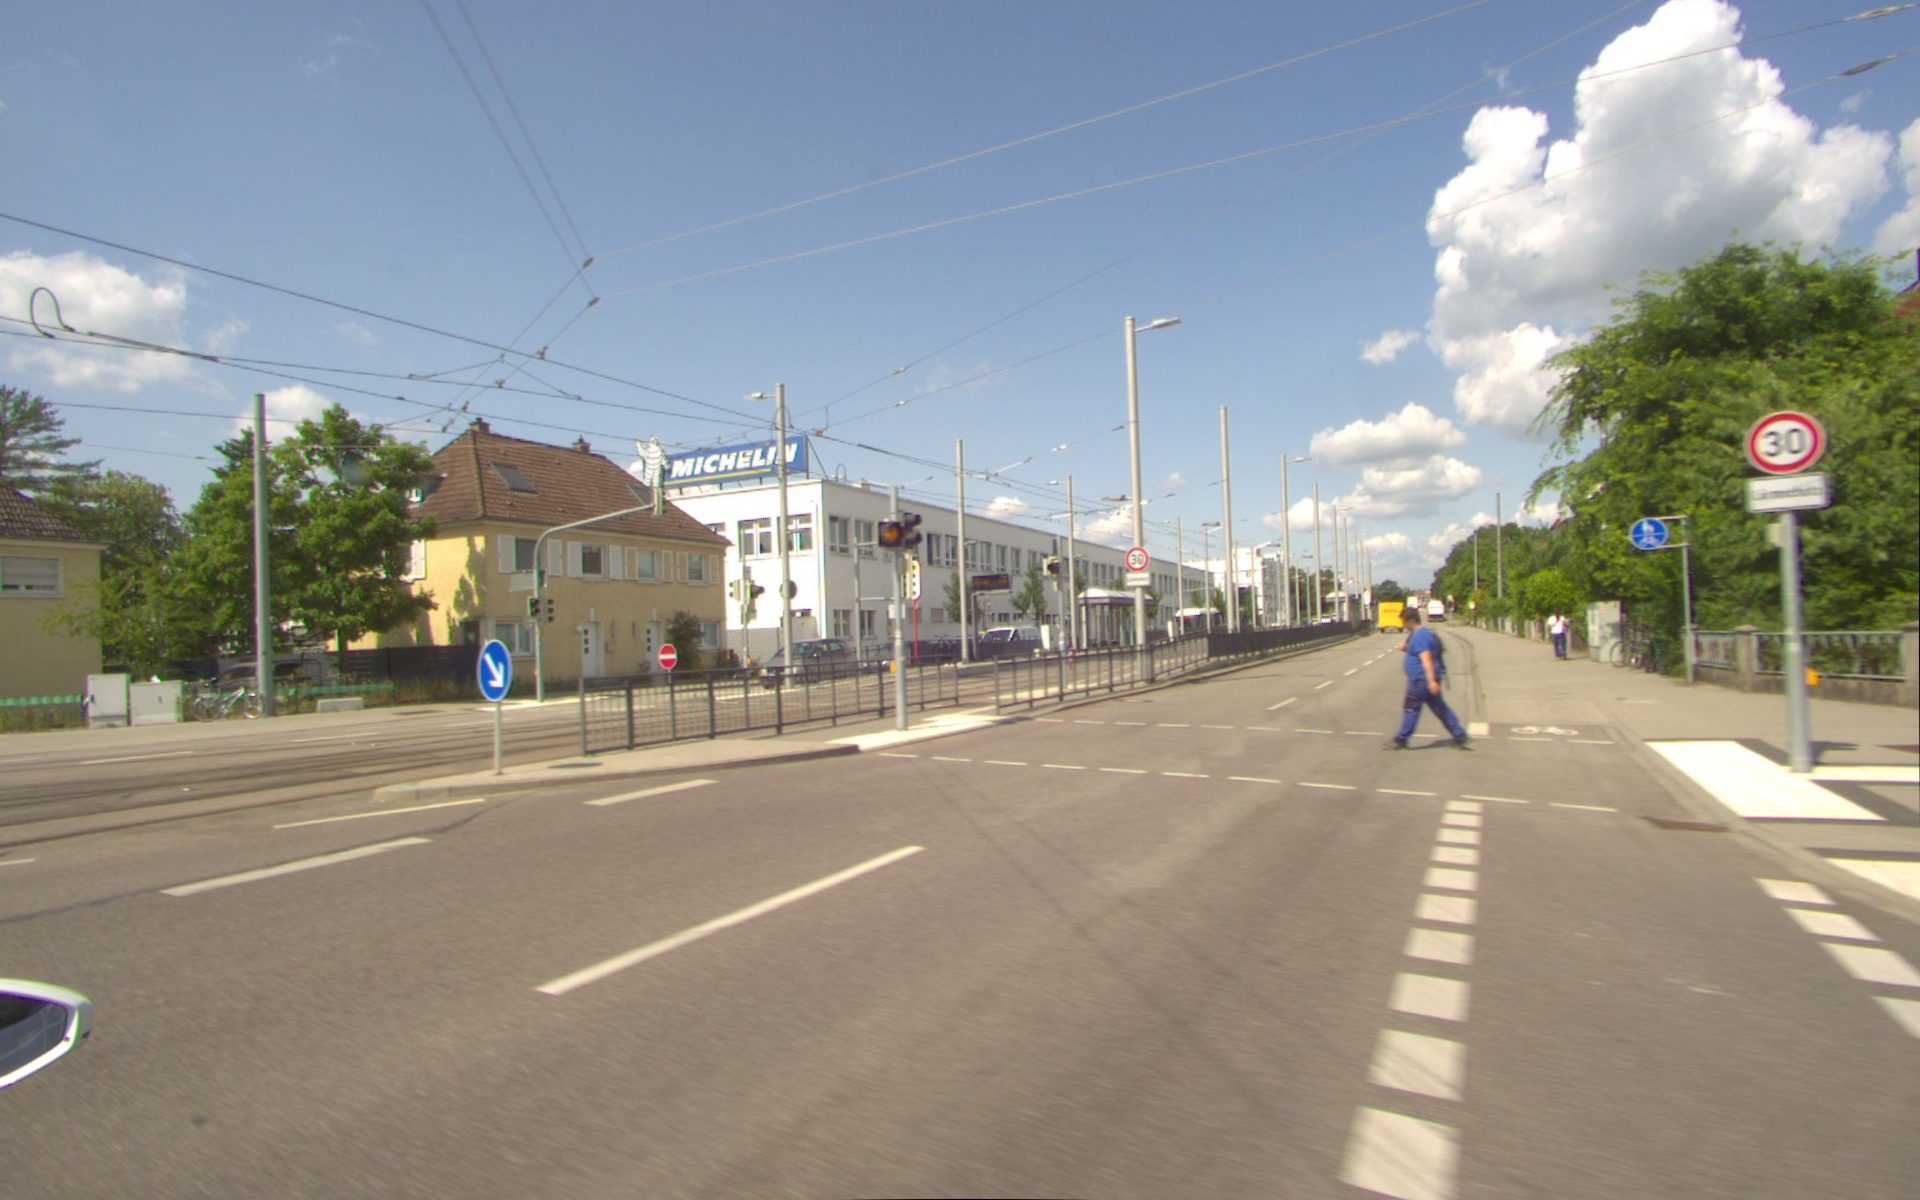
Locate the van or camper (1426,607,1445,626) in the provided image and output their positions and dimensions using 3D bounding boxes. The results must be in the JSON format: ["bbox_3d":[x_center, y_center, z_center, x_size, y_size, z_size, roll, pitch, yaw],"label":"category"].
[{"bbox_3d":[85.481,3.050,180.031,2.959,3.248,7.105,-2,-3,25],"label":"van or camper"}]

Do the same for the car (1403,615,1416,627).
[{"bbox_3d":[82.420,3.926,183.568,1.968,2.038,3.990,-2,-3,24],"label":"car"}]

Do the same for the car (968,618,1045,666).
[{"bbox_3d":[2.340,2.017,49.242,1.787,2.187,4.828,-3,-2,28],"label":"car"}]

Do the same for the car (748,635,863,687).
[{"bbox_3d":[-5.177,2.037,34.086,1.814,1.588,3.984,-3,-2,28],"label":"car"}]

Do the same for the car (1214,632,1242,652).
[{"bbox_3d":[25.949,4.061,96.895,1.968,1.905,3.988,-2,-3,25],"label":"car"}]

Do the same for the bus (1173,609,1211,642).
[{"bbox_3d":[23.500,2.578,101.315,2.468,3.161,6.636,-2,-2,24],"label":"bus"}]

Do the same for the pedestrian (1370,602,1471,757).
[{"bbox_3d":[5.570,0.931,12.101,1.025,1.757,1.029,-2,-1,27],"label":"pedestrian"}]

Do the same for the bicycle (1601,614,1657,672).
[{"bbox_3d":[16.738,1.053,25.114,0.613,1.351,2.795,-2,-2,23],"label":"bicycle"}]

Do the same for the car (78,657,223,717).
[{"bbox_3d":[-25.507,2.742,31.578,3.933,1.641,1.824,-4,-2,21],"label":"car"}]

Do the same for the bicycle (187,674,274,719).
[{"bbox_3d":[-20.060,2.644,27.567,1.777,1.119,0.701,-1,-1,-21],"label":"bicycle"}]

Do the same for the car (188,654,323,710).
[{"bbox_3d":[-23.779,2.770,33.819,3.933,1.641,1.824,-4,-2,21],"label":"car"}]

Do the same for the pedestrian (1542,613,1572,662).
[{"bbox_3d":[17.950,1.115,30.107,0.679,1.450,0.511,-3,-1,39],"label":"pedestrian"}]

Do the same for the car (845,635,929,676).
[{"bbox_3d":[-2.840,2.171,39.617,1.552,1.464,3.707,-3,-2,28],"label":"car"}]

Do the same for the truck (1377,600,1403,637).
[{"bbox_3d":[42.167,1.856,98.201,2.152,3.448,7.214,-2,-3,23],"label":"truck"}]

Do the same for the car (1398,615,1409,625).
[{"bbox_3d":[93.102,4.185,210.124,1.967,2.038,3.991,-2,-3,23],"label":"car"}]

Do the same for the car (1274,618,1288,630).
[{"bbox_3d":[55.258,4.180,172.361,1.967,2.038,3.990,-2,-3,24],"label":"car"}]
